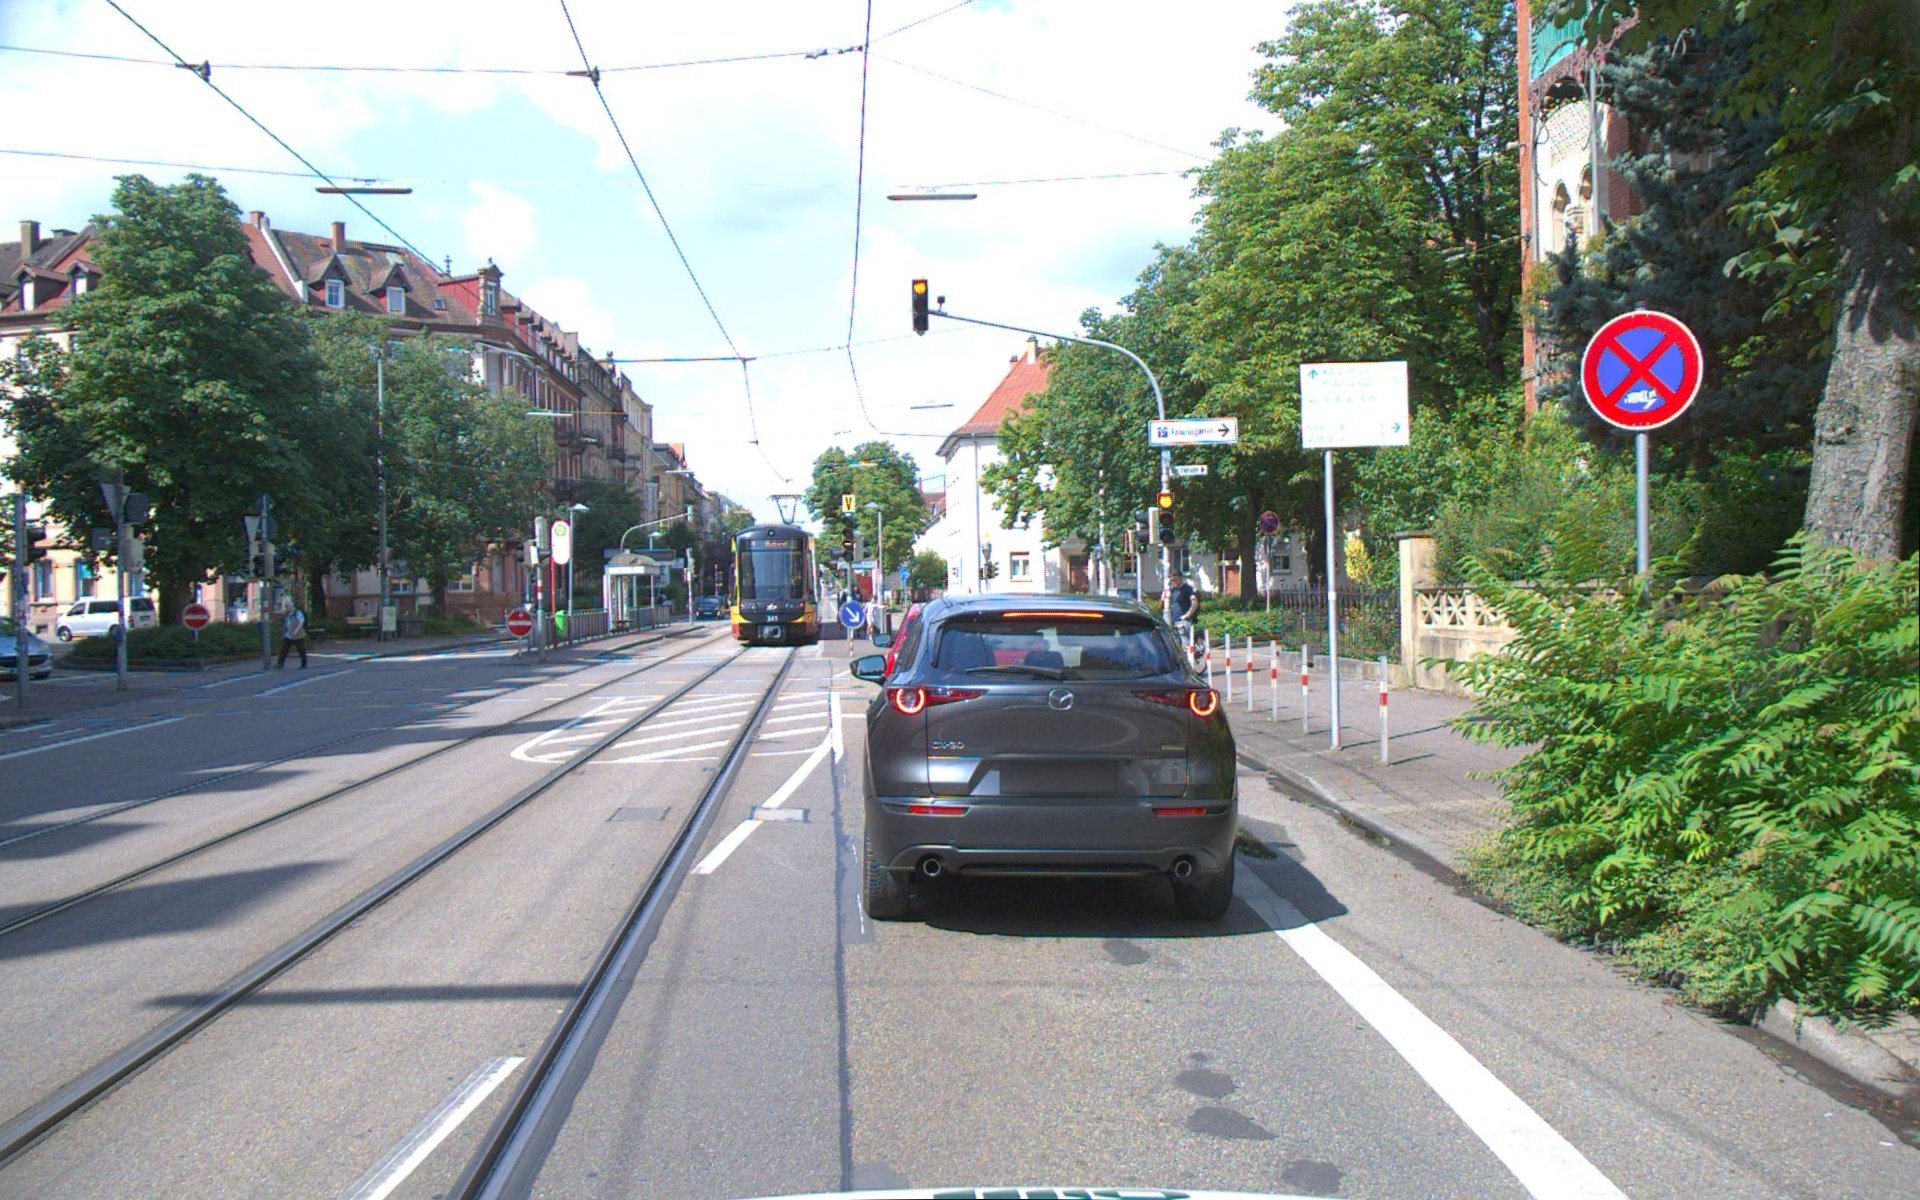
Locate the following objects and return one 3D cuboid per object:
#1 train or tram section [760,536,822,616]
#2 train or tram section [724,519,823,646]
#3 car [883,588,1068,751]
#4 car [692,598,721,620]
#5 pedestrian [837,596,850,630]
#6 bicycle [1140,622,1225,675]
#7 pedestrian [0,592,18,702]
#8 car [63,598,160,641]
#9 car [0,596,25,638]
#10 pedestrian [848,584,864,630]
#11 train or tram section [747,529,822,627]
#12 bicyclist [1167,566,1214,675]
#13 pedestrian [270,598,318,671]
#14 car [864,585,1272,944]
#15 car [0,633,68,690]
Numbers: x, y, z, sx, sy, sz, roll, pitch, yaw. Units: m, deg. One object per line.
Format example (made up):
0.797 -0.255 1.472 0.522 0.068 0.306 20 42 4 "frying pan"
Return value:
-8.325 -1.248 82.674 2.699 3.551 14.394 -1 1 -5 "train or tram section"
-5.877 -0.647 53.972 2.699 3.551 14.394 -1 1 -5 "train or tram section"
0.100 0.646 17.710 1.742 1.526 3.999 1 0 -1 "car"
-16.492 0.589 107.789 1.583 1.333 3.624 -1 0 -4 "car"
-3.733 0.419 52.836 0.372 1.089 0.474 -1 0 -6 "pedestrian"
3.838 0.826 28.476 1.685 0.838 0.487 -1 0 -43 "bicycle"
-15.968 0.769 27.049 0.669 1.785 0.800 -1 0 -4 "pedestrian"
-39.956 0.907 77.881 3.906 1.937 1.999 -1 0 23 "car"
-39.758 0.721 65.792 3.906 1.624 2.000 -1 0 -1 "car"
-3.333 0.209 52.958 0.441 1.459 0.474 -1 0 -6 "pedestrian"
-7.102 -0.953 68.323 2.699 3.551 14.394 -1 1 -5 "train or tram section"
3.928 0.341 28.203 0.597 1.824 0.656 -1 0 -11 "bicyclist"
-16.259 0.839 40.383 0.804 1.735 0.719 -1 0 4 "pedestrian"
0.421 0.697 9.110 1.742 1.526 3.999 1 0 -1 "car"
-22.369 1.395 37.937 3.916 1.203 1.674 -1 0 33 "car"
